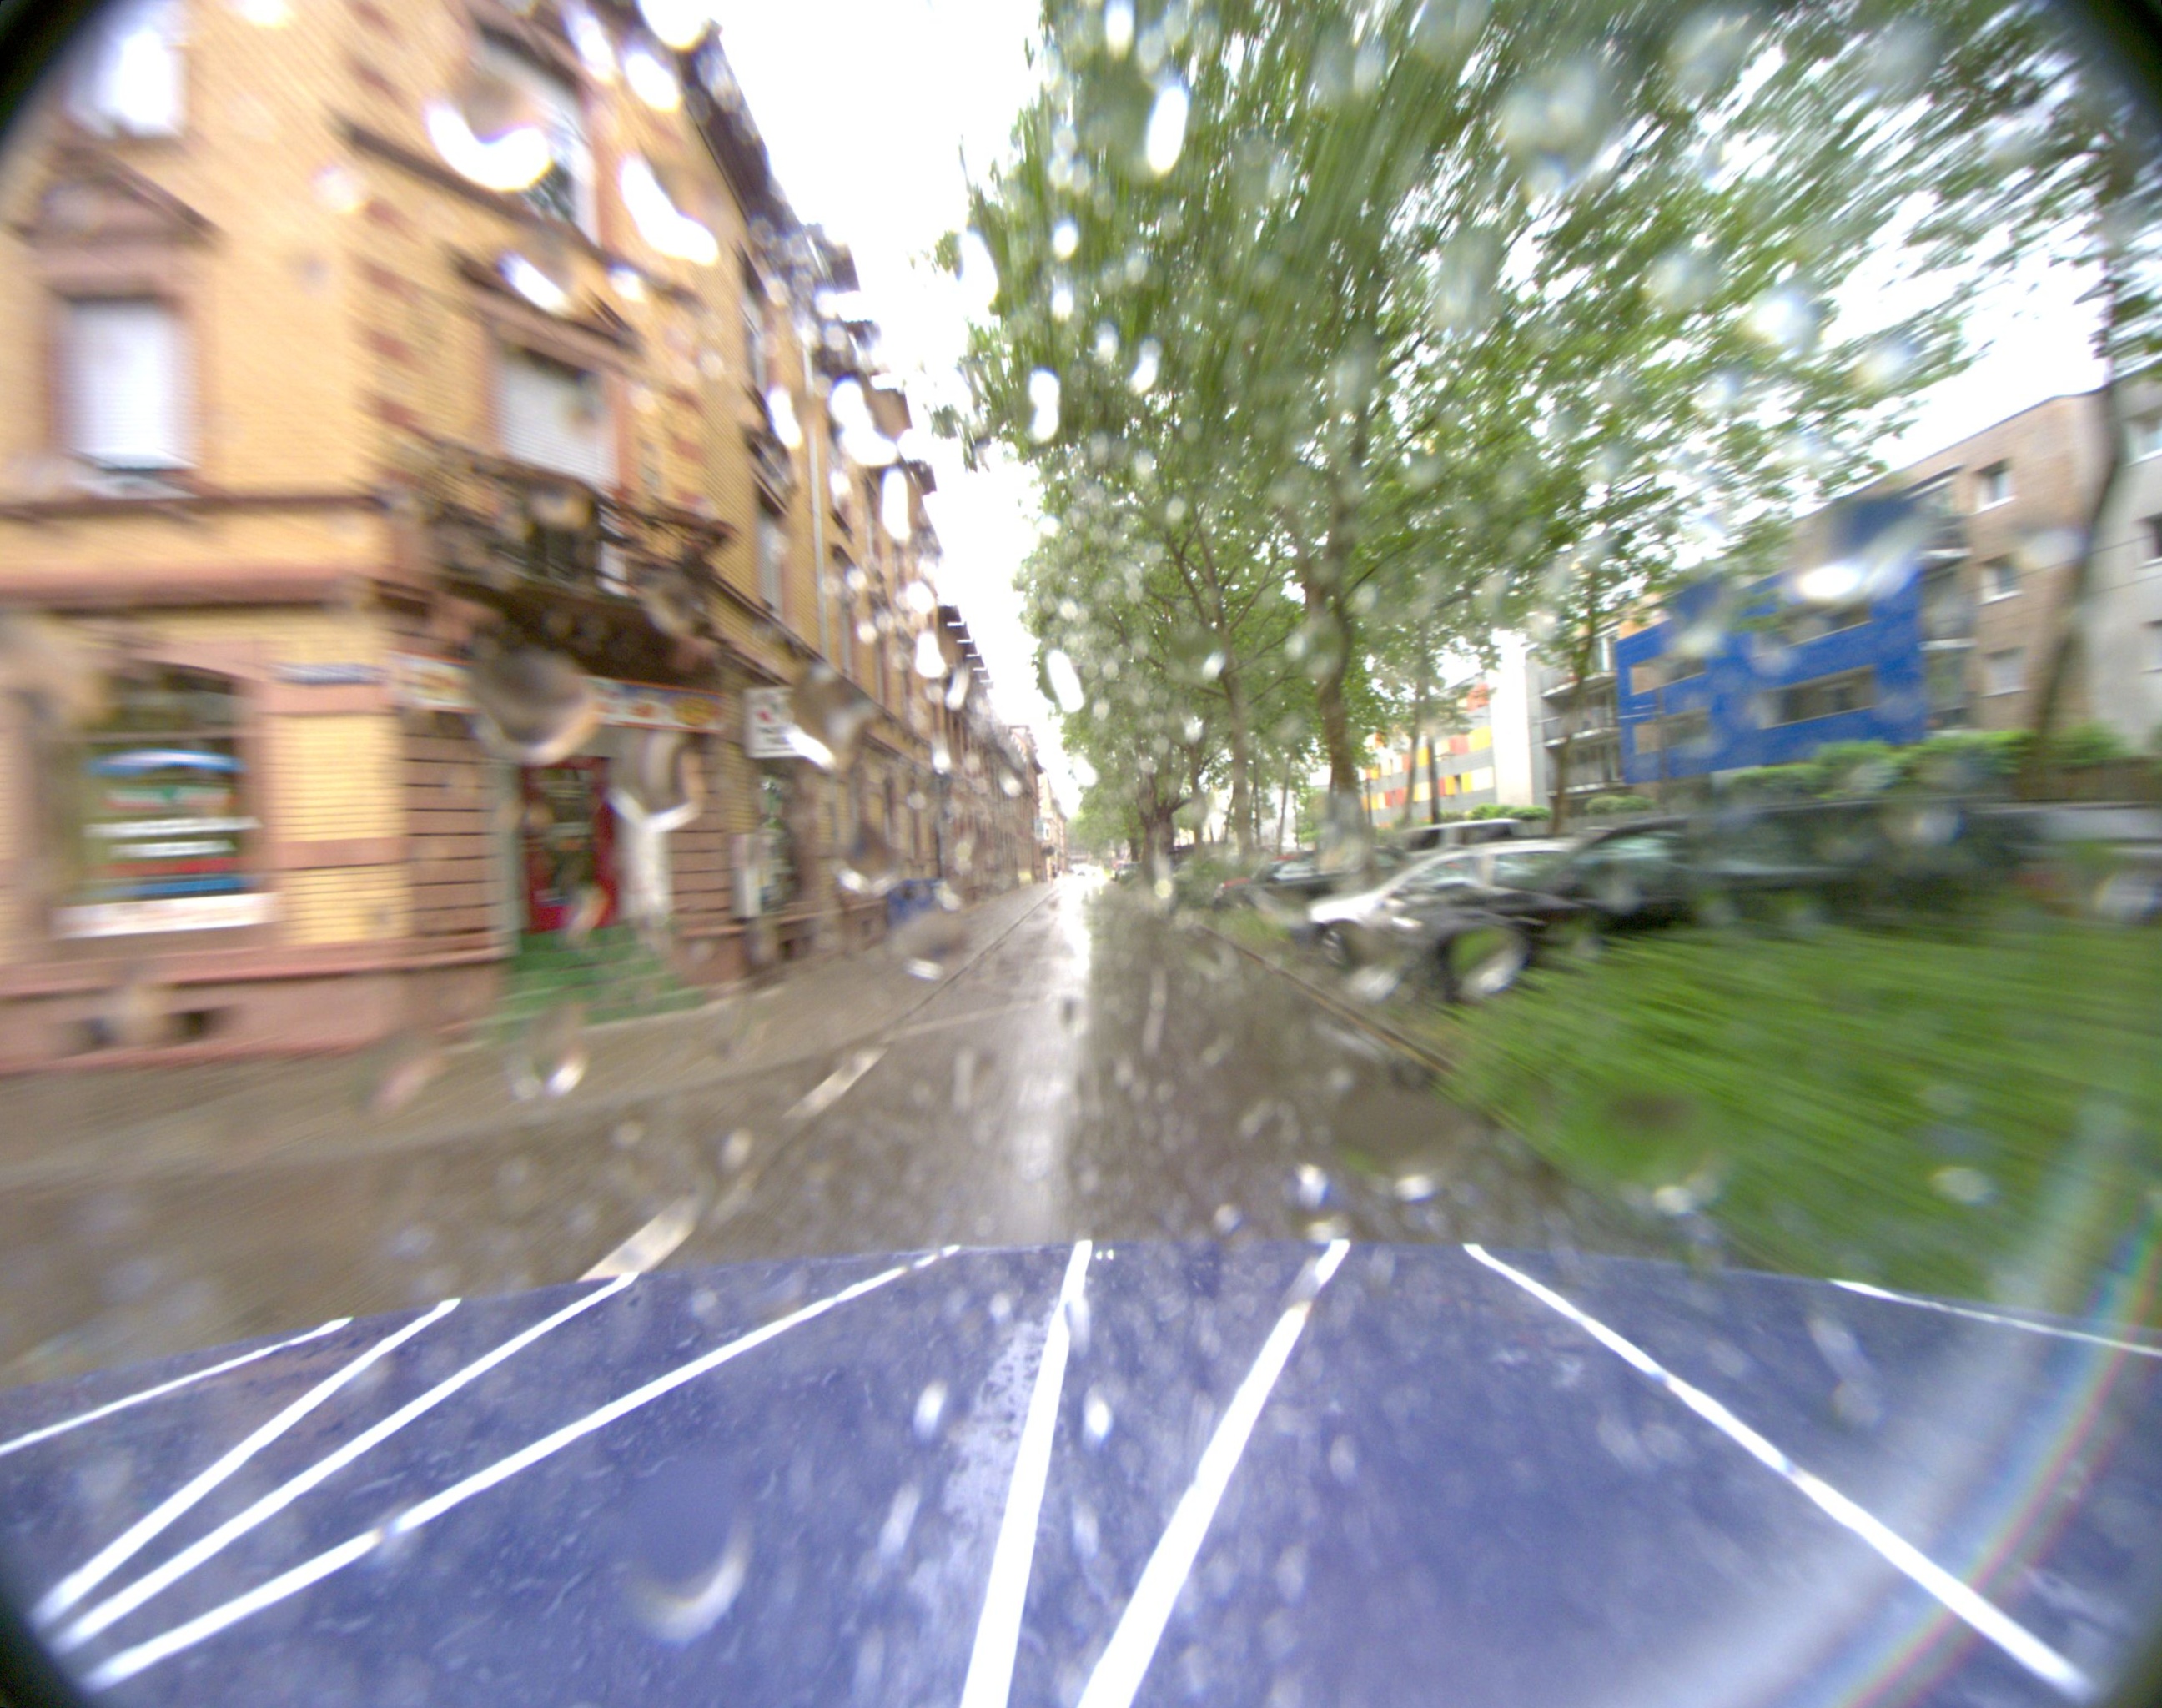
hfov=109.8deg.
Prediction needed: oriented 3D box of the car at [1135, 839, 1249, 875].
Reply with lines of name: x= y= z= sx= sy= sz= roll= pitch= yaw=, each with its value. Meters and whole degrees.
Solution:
car: x=4.946 y=0.146 z=34.056 sx=4.649 sy=1.318 sz=1.850 roll=-3 pitch=-1 yaw=28

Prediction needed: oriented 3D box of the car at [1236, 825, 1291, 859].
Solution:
car: x=12.530 y=-0.782 z=52.563 sx=2.059 sy=1.985 sz=5.434 roll=-5 pitch=-1 yaw=-3

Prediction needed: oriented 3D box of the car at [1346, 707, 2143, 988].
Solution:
car: x=4.754 y=0.067 z=6.390 sx=4.407 sy=1.650 sz=1.933 roll=-3 pitch=-1 yaw=30

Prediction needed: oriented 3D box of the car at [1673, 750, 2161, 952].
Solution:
car: x=9.259 y=-0.049 z=8.428 sx=1.999 sy=1.630 sz=4.139 roll=-4 pitch=0 yaw=-1

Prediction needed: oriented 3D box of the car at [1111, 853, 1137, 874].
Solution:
car: x=3.546 y=0.800 z=63.343 sx=1.901 sy=1.476 sz=4.622 roll=-5 pitch=-1 yaw=0

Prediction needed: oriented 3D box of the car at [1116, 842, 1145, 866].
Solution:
car: x=3.461 y=0.017 z=54.039 sx=1.733 sy=1.505 sz=4.208 roll=-5 pitch=-1 yaw=0

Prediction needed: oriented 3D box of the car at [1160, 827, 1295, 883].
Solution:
car: x=4.990 y=0.051 z=25.892 sx=4.056 sy=1.528 sz=1.838 roll=-5 pitch=-1 yaw=26

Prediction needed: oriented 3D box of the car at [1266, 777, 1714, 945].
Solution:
car: x=4.759 y=0.115 z=9.349 sx=4.406 sy=1.636 sz=1.875 roll=-2 pitch=0 yaw=32

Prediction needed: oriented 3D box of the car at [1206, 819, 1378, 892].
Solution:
car: x=5.170 y=0.063 z=18.705 sx=3.645 sy=1.470 sz=1.747 roll=-5 pitch=-1 yaw=31

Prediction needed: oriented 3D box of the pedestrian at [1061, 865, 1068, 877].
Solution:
pedestrian: x=-2.151 y=2.146 z=97.451 sx=0.849 sy=1.564 sz=0.576 roll=1 pitch=0 yaw=1

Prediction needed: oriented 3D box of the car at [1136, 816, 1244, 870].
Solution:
car: x=5.250 y=-0.480 z=36.832 sx=4.649 sy=2.269 sz=2.015 roll=-3 pitch=-1 yaw=30

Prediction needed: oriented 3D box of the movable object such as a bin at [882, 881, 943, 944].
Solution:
movable object such as a bin: x=-3.657 y=1.249 z=16.615 sx=1.024 sy=1.294 sz=1.367 roll=0 pitch=-1 yaw=0

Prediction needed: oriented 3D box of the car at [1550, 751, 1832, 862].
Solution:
car: x=11.756 y=-0.793 z=15.149 sx=1.909 sy=1.730 sz=4.422 roll=-4 pitch=-1 yaw=-1

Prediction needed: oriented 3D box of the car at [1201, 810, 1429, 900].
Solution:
car: x=4.859 y=0.064 z=15.888 sx=4.221 sy=1.470 sz=1.747 roll=-5 pitch=-1 yaw=28

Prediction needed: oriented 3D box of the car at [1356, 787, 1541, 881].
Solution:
car: x=9.260 y=-0.403 z=19.803 sx=2.043 sy=1.988 sz=5.159 roll=-4 pitch=-1 yaw=-2

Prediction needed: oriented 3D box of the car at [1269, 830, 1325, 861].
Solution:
car: x=12.328 y=-0.457 z=43.648 sx=1.909 sy=1.525 sz=4.216 roll=-4 pitch=-1 yaw=-1
